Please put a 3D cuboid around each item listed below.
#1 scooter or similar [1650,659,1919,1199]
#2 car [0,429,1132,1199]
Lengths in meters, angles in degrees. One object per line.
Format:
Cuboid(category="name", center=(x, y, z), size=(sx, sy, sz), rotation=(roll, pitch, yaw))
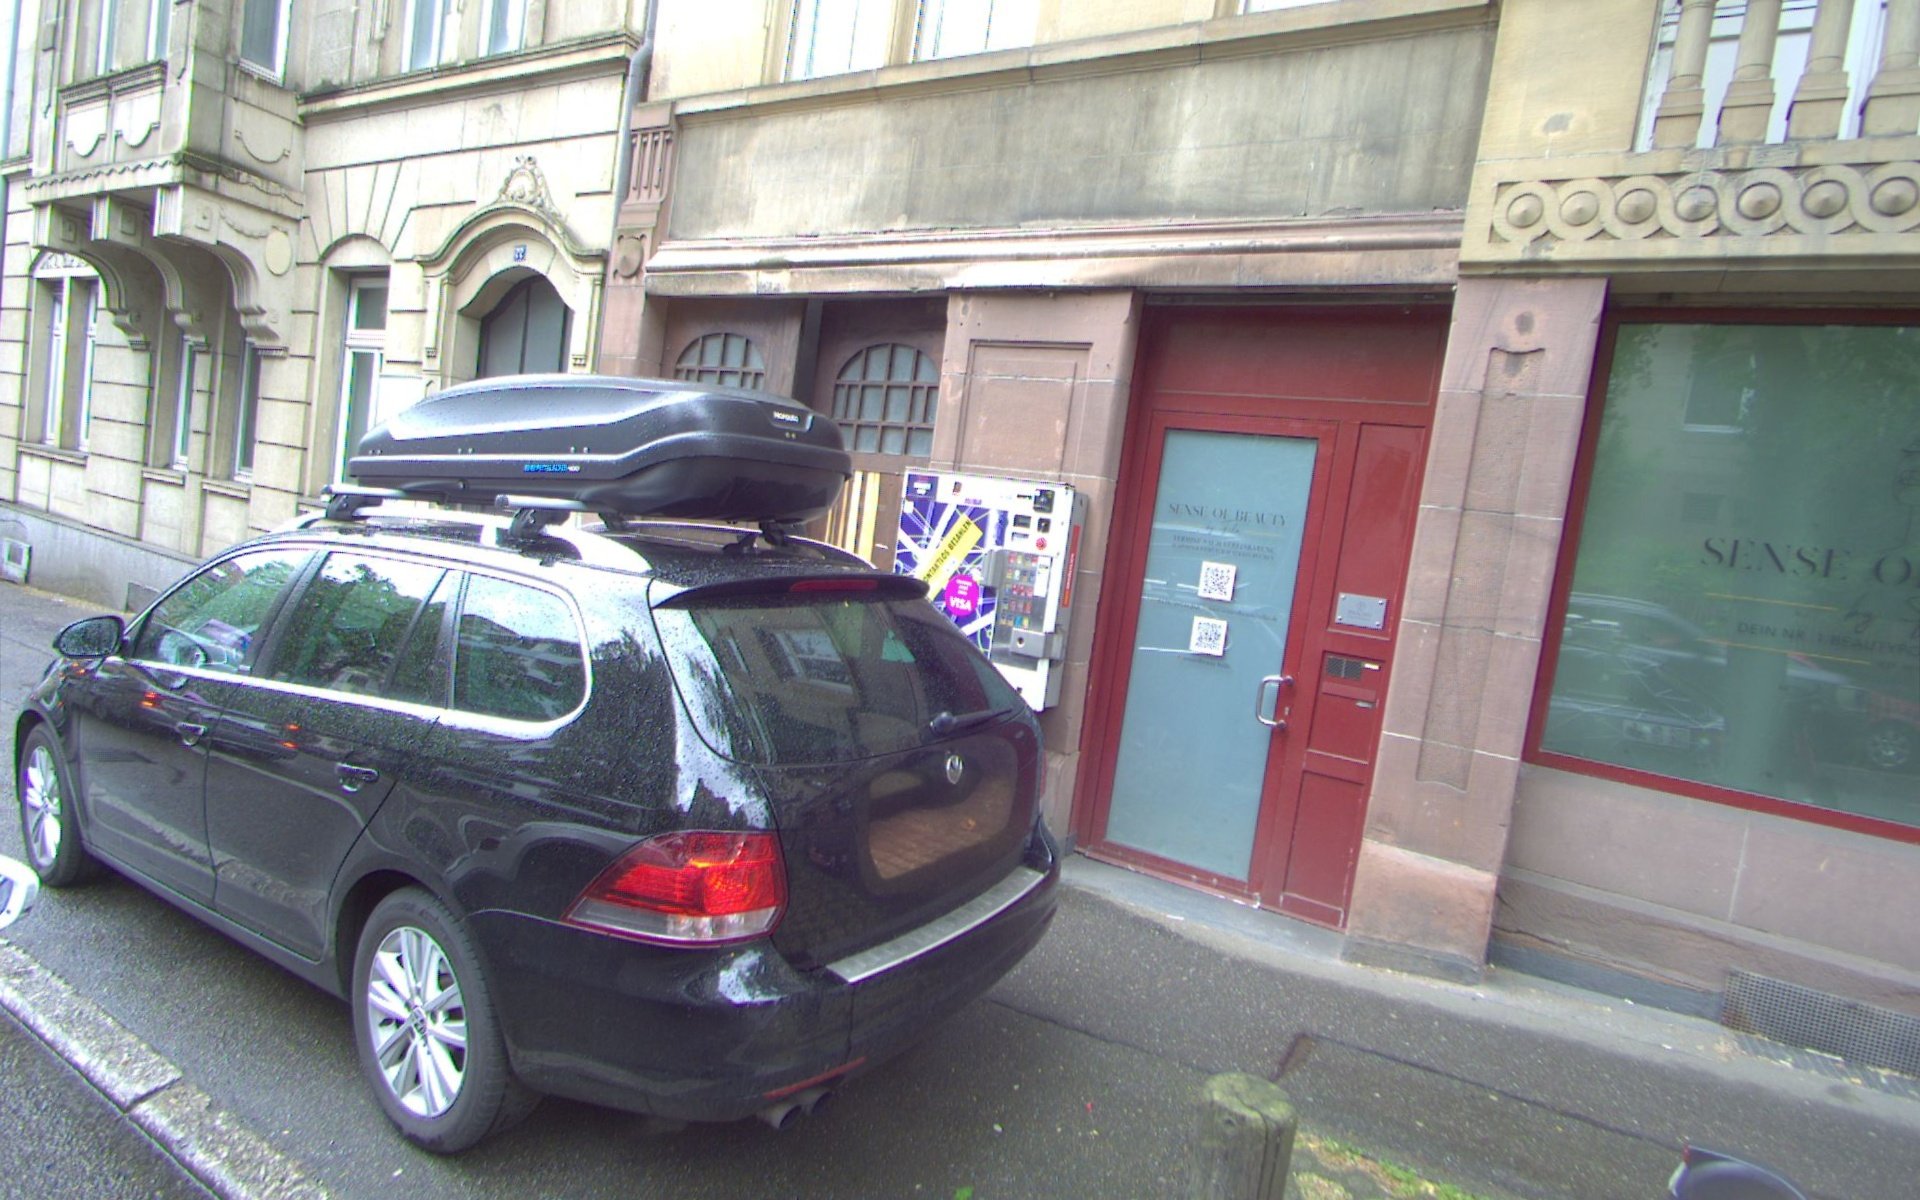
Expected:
Cuboid(category="scooter or similar", center=(2.167, 0.861, 1.956), size=(1.183, 1.336, 0.593), rotation=(7, 3, 32))
Cuboid(category="car", center=(-1.680, 0.372, 3.534), size=(4.031, 1.675, 1.757), rotation=(7, 6, 32))
